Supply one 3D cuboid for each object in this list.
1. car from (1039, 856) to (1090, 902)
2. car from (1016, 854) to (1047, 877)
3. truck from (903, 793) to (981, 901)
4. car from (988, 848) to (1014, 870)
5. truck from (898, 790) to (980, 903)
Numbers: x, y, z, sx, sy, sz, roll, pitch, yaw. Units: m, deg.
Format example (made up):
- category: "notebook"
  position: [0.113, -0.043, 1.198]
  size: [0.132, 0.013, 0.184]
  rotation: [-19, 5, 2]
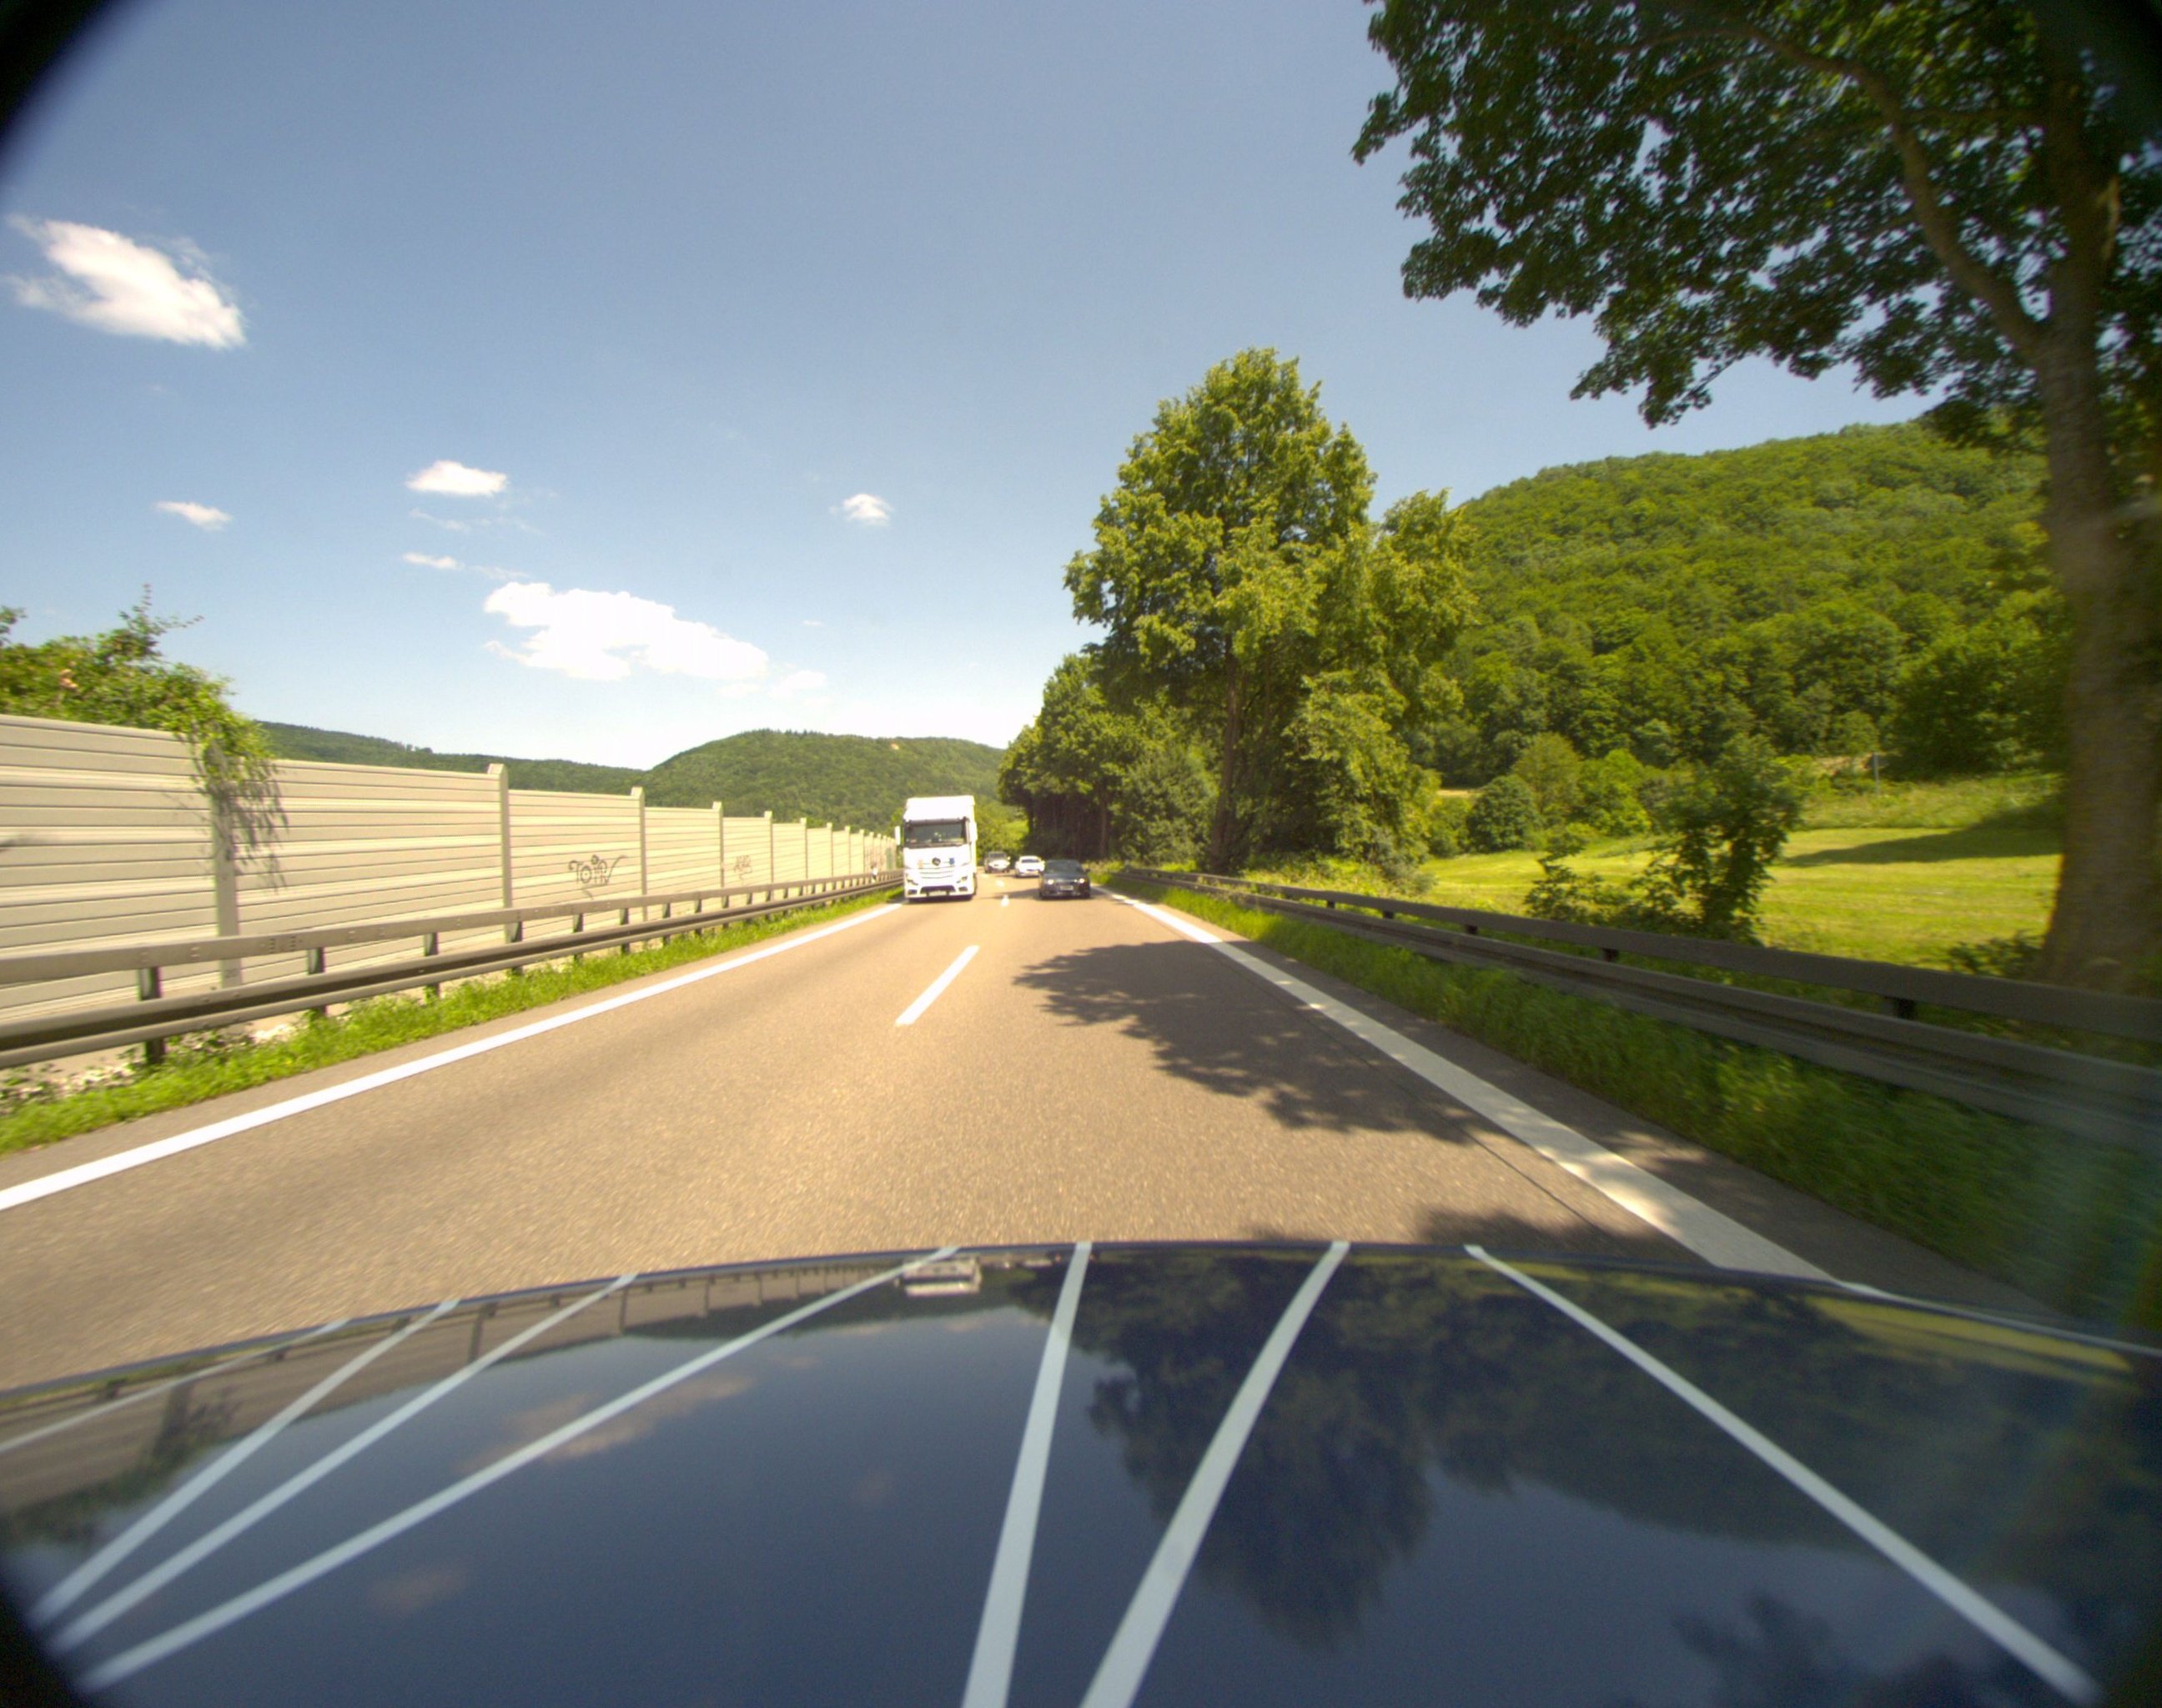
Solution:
- category: "car"
  position: [-0.578, 0.854, 27.300]
  size: [1.662, 1.435, 3.475]
  rotation: [-3, 0, -1]
- category: "car"
  position: [-3.477, 0.777, 52.986]
  size: [1.717, 1.541, 3.996]
  rotation: [-1, 0, -10]
- category: "truck"
  position: [-6.289, -0.290, 35.861]
  size: [2.863, 4.123, 12.038]
  rotation: [-2, 0, -8]
- category: "car"
  position: [-7.349, 0.483, 69.503]
  size: [2.045, 1.855, 3.996]
  rotation: [-1, 0, -11]
- category: "truck"
  position: [-5.622, -0.255, 30.923]
  size: [2.766, 4.015, 6.818]
  rotation: [-2, 0, -8]
